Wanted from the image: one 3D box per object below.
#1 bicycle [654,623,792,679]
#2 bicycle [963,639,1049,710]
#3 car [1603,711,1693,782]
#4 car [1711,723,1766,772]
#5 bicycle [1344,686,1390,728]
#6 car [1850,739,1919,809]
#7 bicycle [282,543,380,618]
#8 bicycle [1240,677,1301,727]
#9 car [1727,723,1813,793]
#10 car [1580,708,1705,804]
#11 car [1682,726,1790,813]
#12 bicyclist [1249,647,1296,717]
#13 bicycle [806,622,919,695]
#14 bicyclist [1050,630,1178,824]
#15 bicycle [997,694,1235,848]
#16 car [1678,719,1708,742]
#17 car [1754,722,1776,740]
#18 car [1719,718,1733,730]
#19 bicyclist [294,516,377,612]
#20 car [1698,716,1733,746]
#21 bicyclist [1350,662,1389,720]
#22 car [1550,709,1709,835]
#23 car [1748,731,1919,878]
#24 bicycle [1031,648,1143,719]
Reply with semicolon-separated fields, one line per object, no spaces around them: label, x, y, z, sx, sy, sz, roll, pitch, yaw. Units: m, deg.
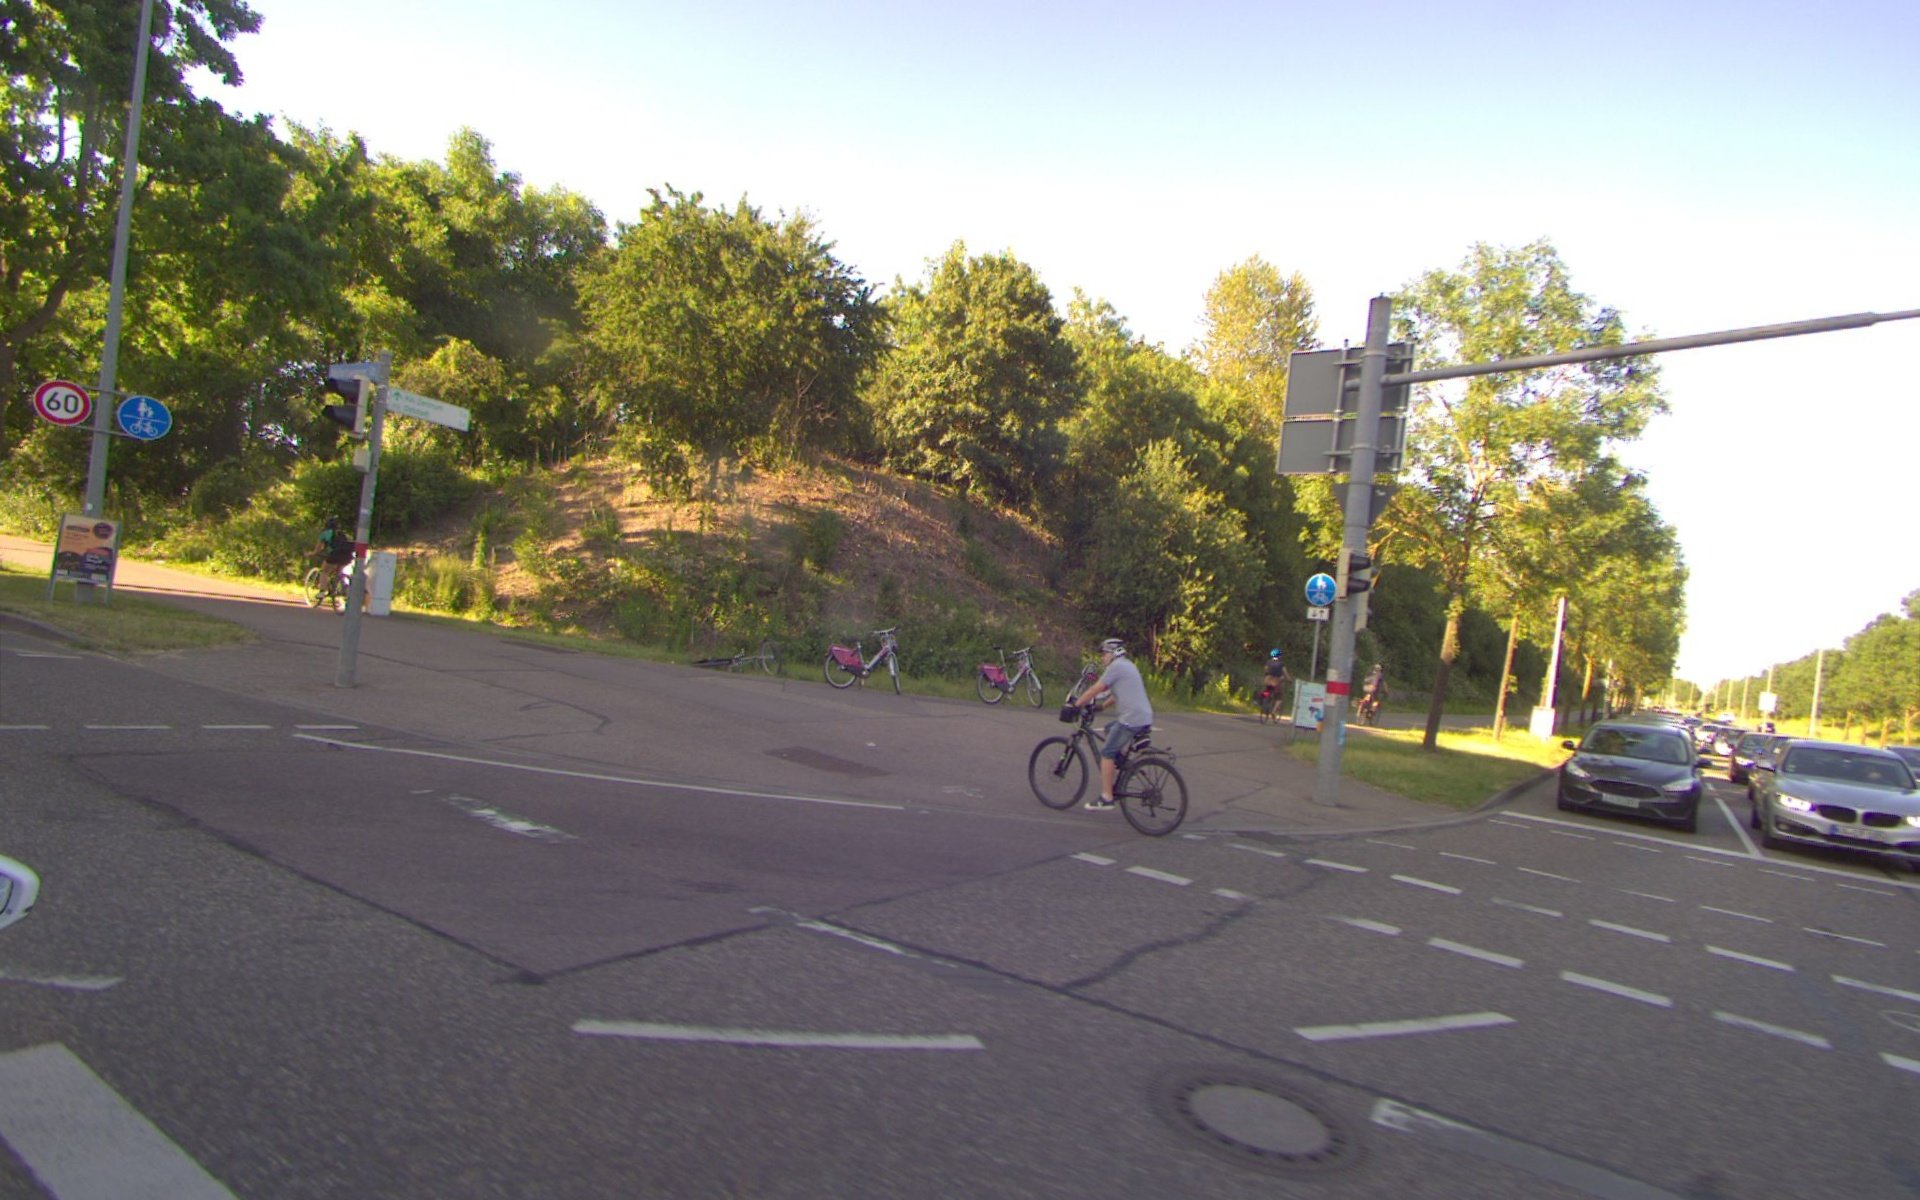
bicycle;-4.091;0.884;17.480;2.156;0.629;0.842;8;2;-2
bicycle;0.849;1.375;18.271;0.448;1.160;1.649;7;0;45
car;18.671;3.898;27.230;1.747;1.548;4.127;5;-2;37
car;35.982;6.796;46.435;1.766;1.886;3.986;6;-2;39
bicycle;11.861;3.094;29.271;0.688;1.049;2.257;10;2;33
car;24.071;4.436;25.611;1.565;1.449;3.867;5;-2;35
bicycle;-11.054;-0.348;17.671;1.903;1.085;0.517;7;0;29
bicycle;7.465;2.425;24.142;0.688;1.049;2.257;10;2;33
car;22.425;4.321;27.962;1.597;1.548;3.842;5;-2;37
car;14.219;3.173;21.154;1.813;1.548;3.913;5;-2;31
car;16.147;3.456;21.073;1.472;1.375;3.989;5;-2;35
bicyclist;7.454;1.952;24.000;0.688;1.527;0.663;10;3;33
bicycle;-1.609;0.998;16.947;0.448;1.065;1.985;7;0;44
bicyclist;1.433;1.152;9.366;0.851;1.629;0.565;7;0;32
bicycle;1.416;1.531;9.353;2.012;1.004;0.572;8;0;32
car;66.932;11.902;91.893;1.822;1.828;3.993;6;-2;33
car;105.125;17.086;131.364;1.774;2.037;3.991;6;-2;35
car;150.705;24.339;197.885;1.774;2.037;3.991;6;-2;35
bicyclist;-10.923;-0.627;17.605;1.018;1.541;0.686;7;0;29
car;46.810;8.106;62.355;1.597;1.548;3.842;5;-2;37
bicyclist;11.879;2.636;29.183;0.688;1.567;0.813;10;3;33
car;10.692;2.605;16.000;1.778;1.493;3.988;5;-2;36
car;12.368;2.753;14.157;1.789;1.493;3.987;5;-2;37
bicycle;2.417;1.588;18.935;2.249;1.119;0.691;8;2;-43
